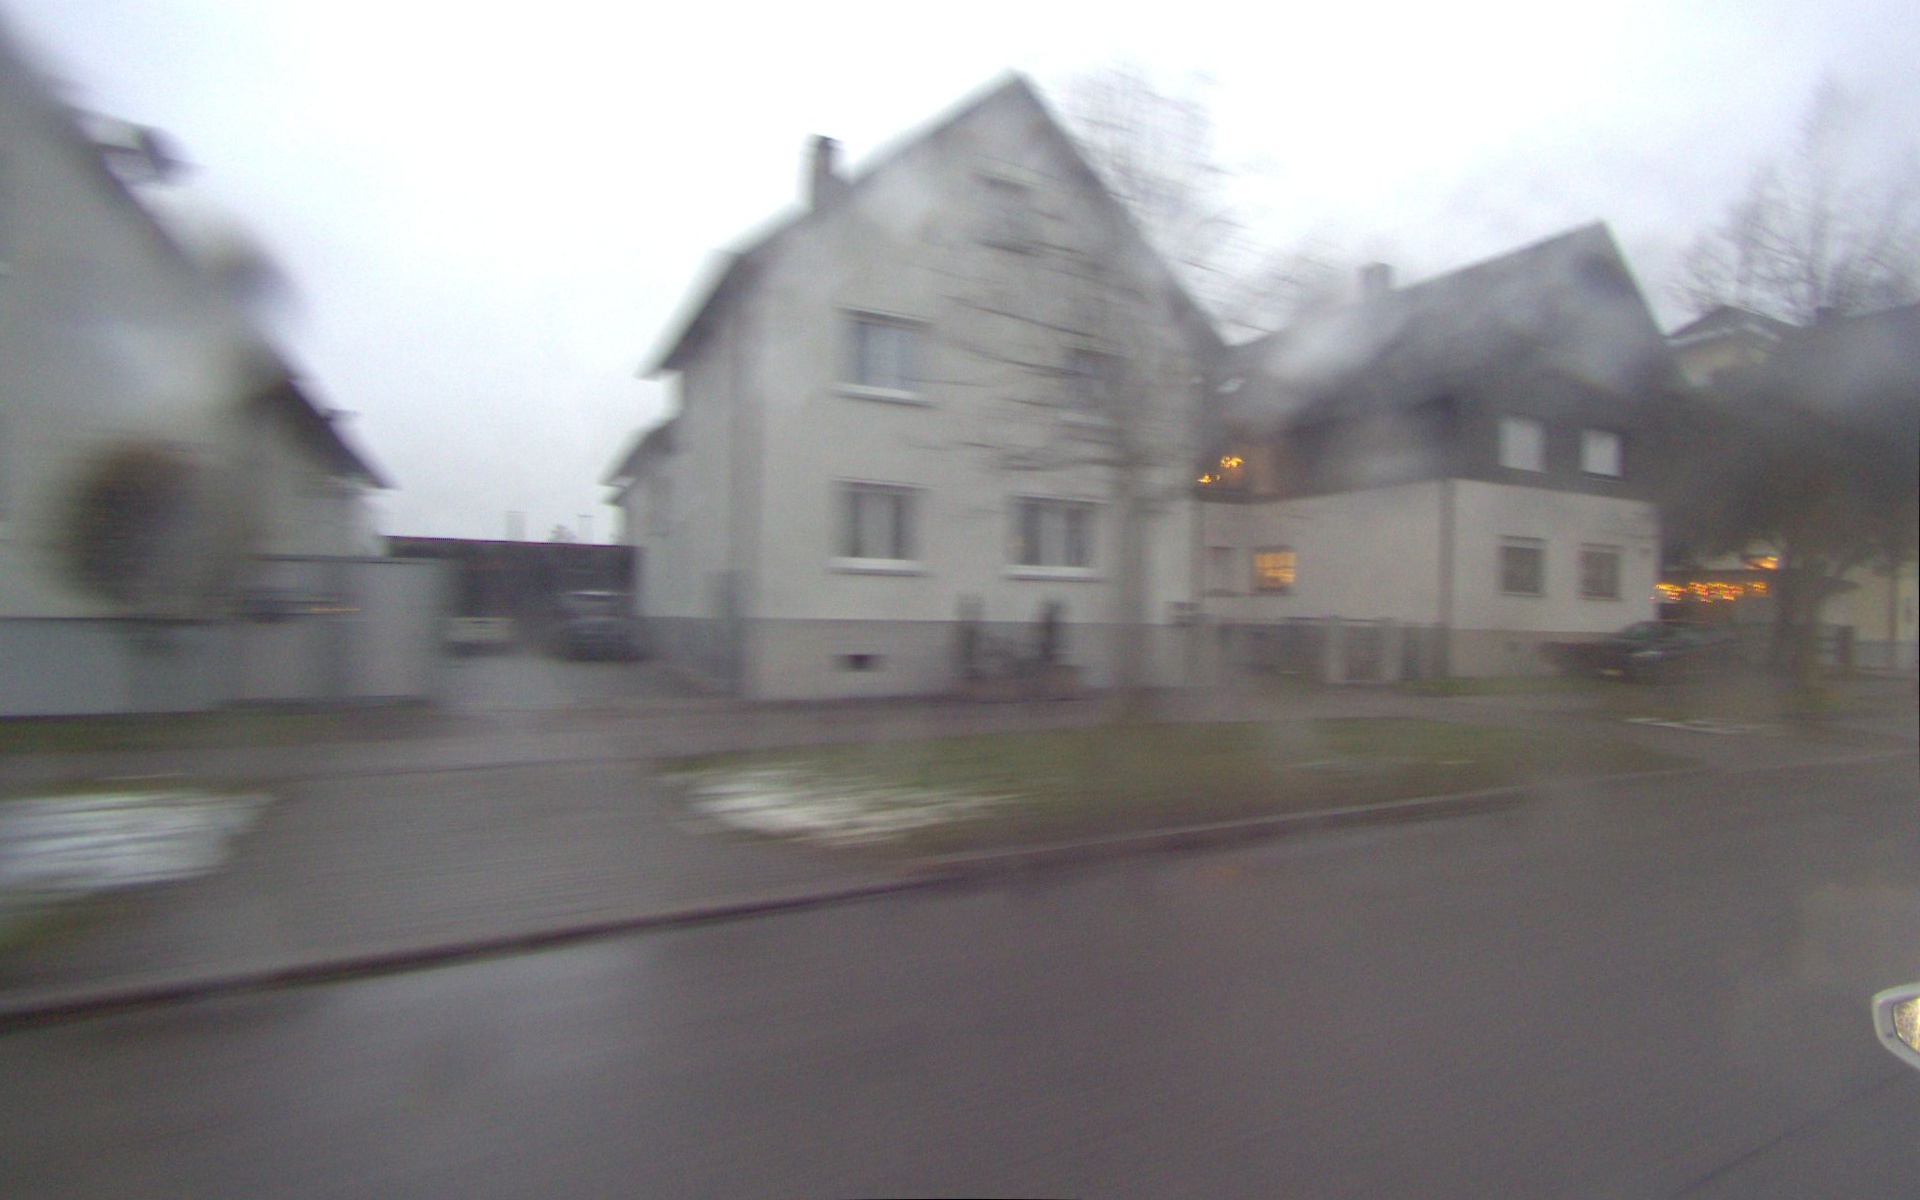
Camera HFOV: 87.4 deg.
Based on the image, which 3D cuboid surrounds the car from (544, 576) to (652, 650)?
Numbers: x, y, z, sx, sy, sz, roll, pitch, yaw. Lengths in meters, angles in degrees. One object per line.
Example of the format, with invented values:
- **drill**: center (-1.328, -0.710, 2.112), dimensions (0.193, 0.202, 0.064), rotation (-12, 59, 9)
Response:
- **car**: center (-8.604, 0.290, 23.669), dimensions (2.099, 1.572, 3.976), rotation (1, 0, -24)

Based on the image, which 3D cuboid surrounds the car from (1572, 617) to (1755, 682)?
- **car**: center (16.623, 1.174, 23.738), dimensions (3.945, 1.384, 1.777), rotation (2, 0, -24)
